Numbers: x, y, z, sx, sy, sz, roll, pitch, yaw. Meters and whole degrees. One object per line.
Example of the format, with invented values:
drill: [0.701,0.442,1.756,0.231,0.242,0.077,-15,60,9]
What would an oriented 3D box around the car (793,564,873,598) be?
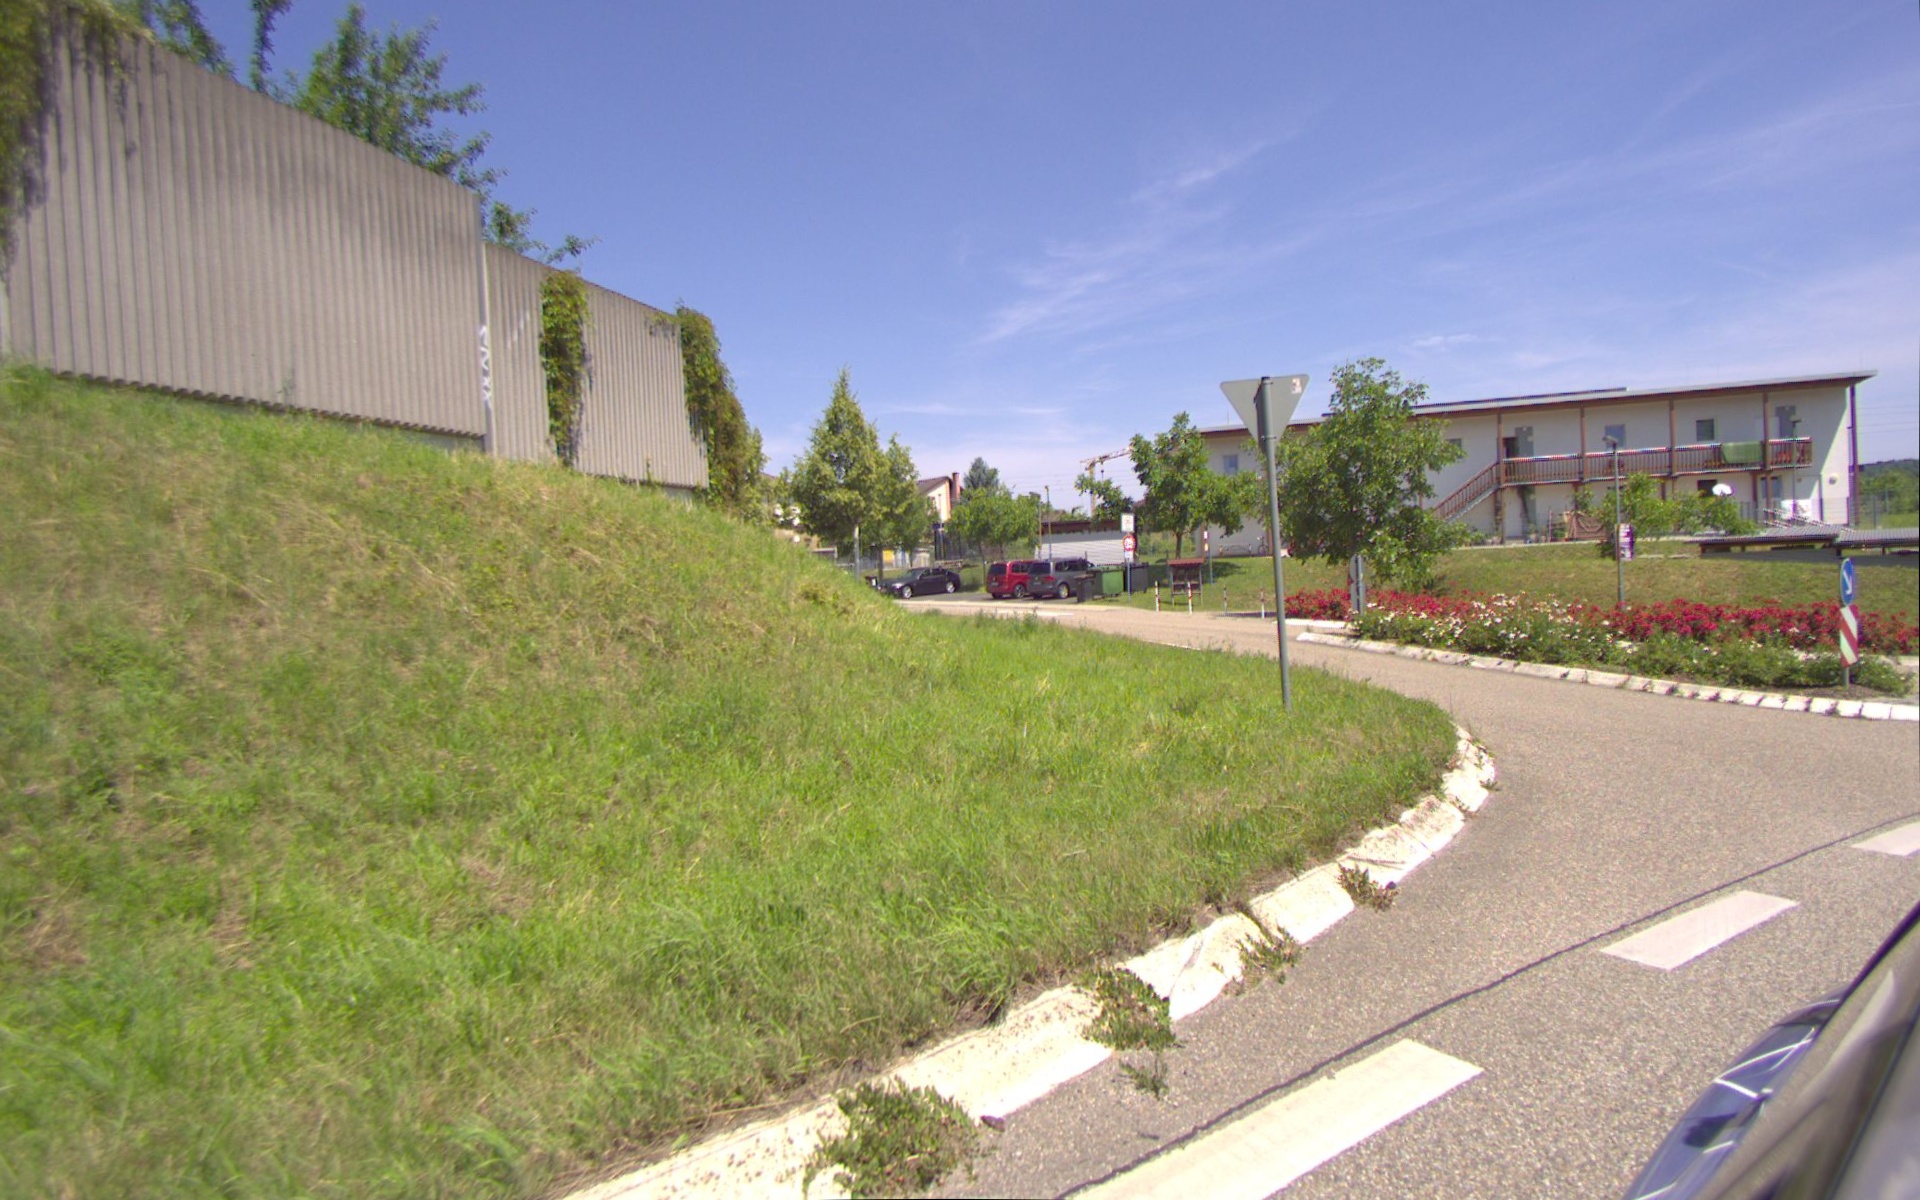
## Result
car: [-6.833,-1.053,54.684,3.936,1.598,1.866,-5,3,-44]

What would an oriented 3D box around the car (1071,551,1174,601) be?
car: [6.534,-0.985,40.577,3.928,1.772,1.870,-4,3,-37]

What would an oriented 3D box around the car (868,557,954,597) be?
car: [-2.438,-1.173,51.131,3.928,1.772,1.870,-4,3,-37]

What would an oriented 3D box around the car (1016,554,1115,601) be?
car: [4.526,-0.957,43.022,3.928,1.772,1.870,-4,3,-37]

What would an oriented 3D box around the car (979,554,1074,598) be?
car: [2.992,-1.080,45.064,3.928,1.772,1.870,-4,3,-37]
